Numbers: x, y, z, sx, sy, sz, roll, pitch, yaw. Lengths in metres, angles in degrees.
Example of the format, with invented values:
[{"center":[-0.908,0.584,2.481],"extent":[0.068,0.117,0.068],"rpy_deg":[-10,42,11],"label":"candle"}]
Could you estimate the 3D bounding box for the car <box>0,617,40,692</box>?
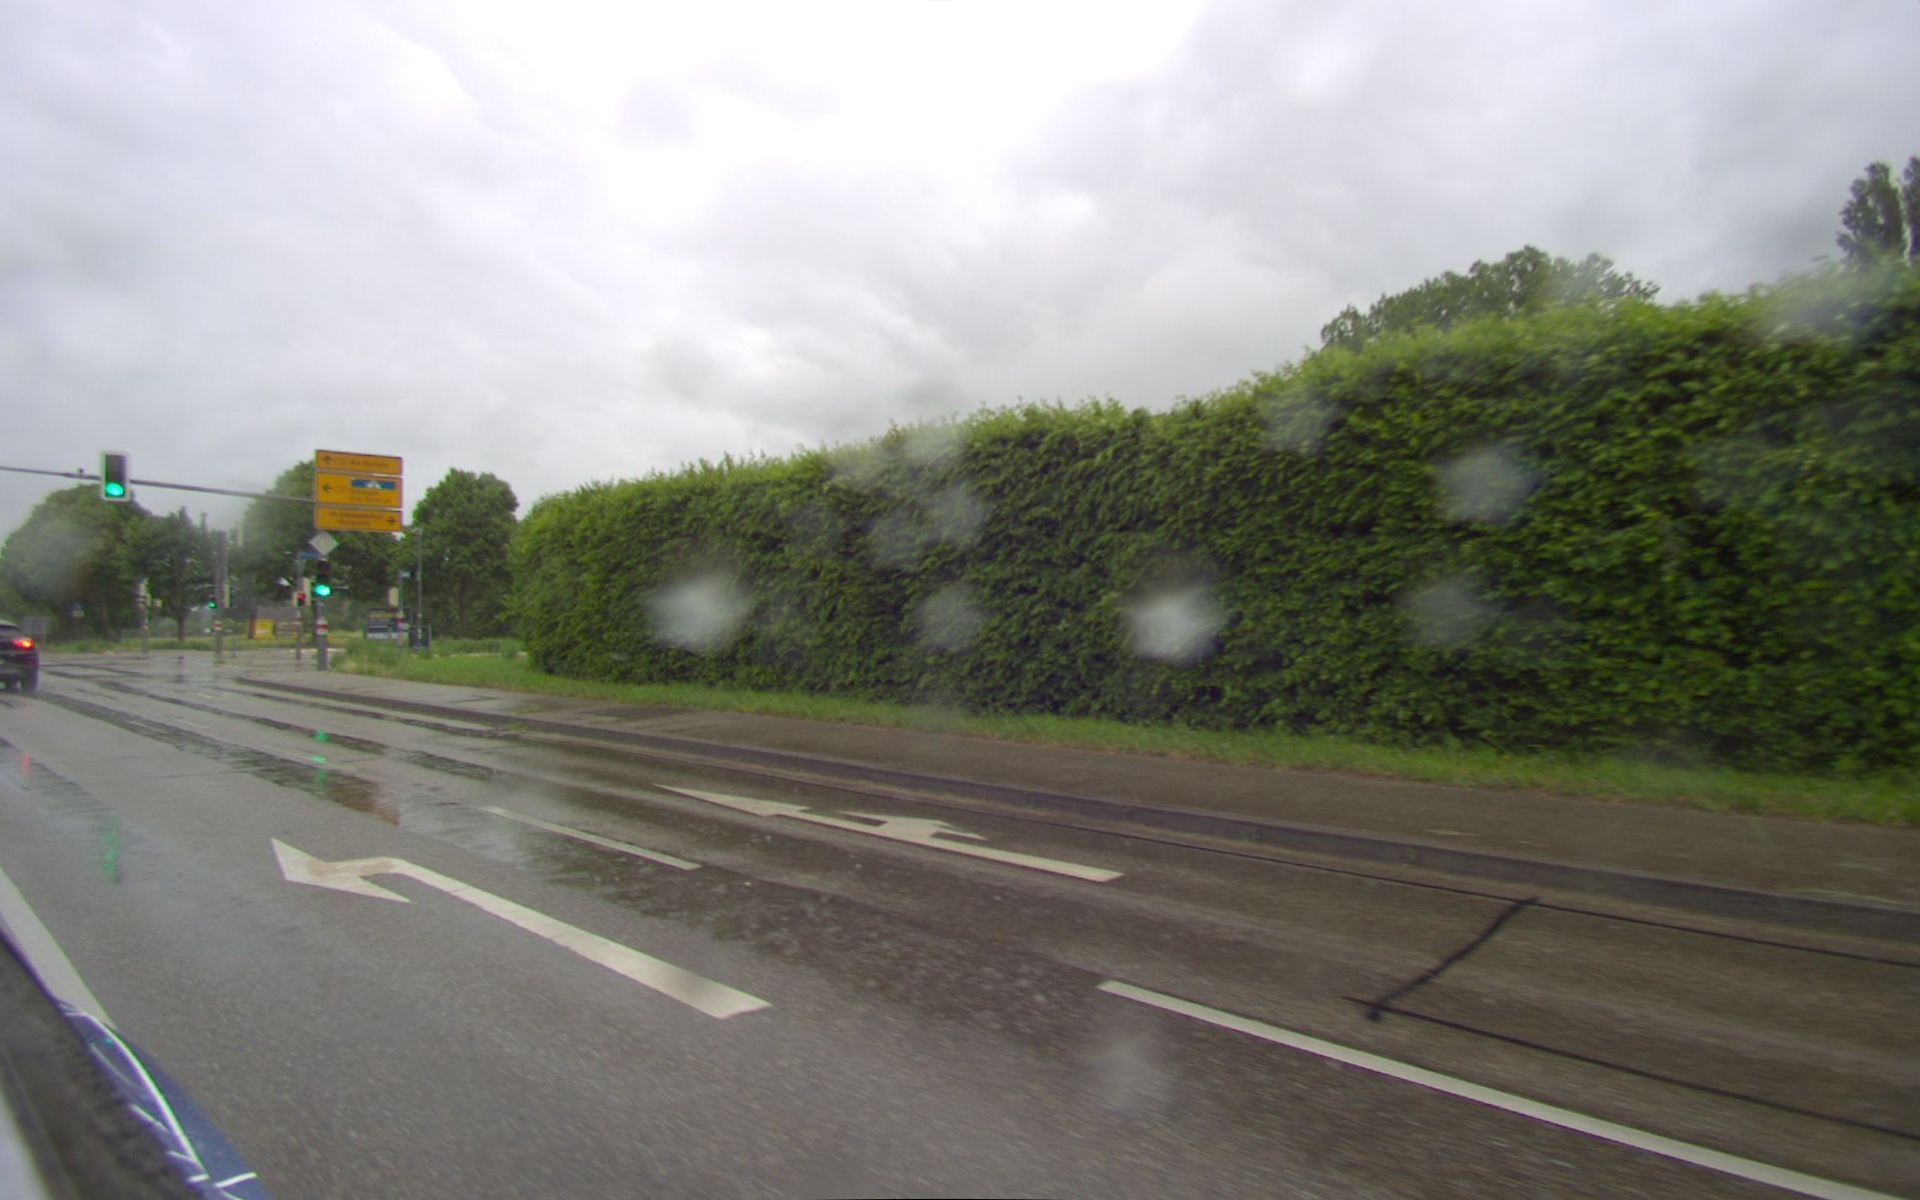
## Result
[{"center":[-21.457,1.137,21.903],"extent":[3.873,1.549,1.744],"rpy_deg":[-1,-2,40],"label":"car"}]
